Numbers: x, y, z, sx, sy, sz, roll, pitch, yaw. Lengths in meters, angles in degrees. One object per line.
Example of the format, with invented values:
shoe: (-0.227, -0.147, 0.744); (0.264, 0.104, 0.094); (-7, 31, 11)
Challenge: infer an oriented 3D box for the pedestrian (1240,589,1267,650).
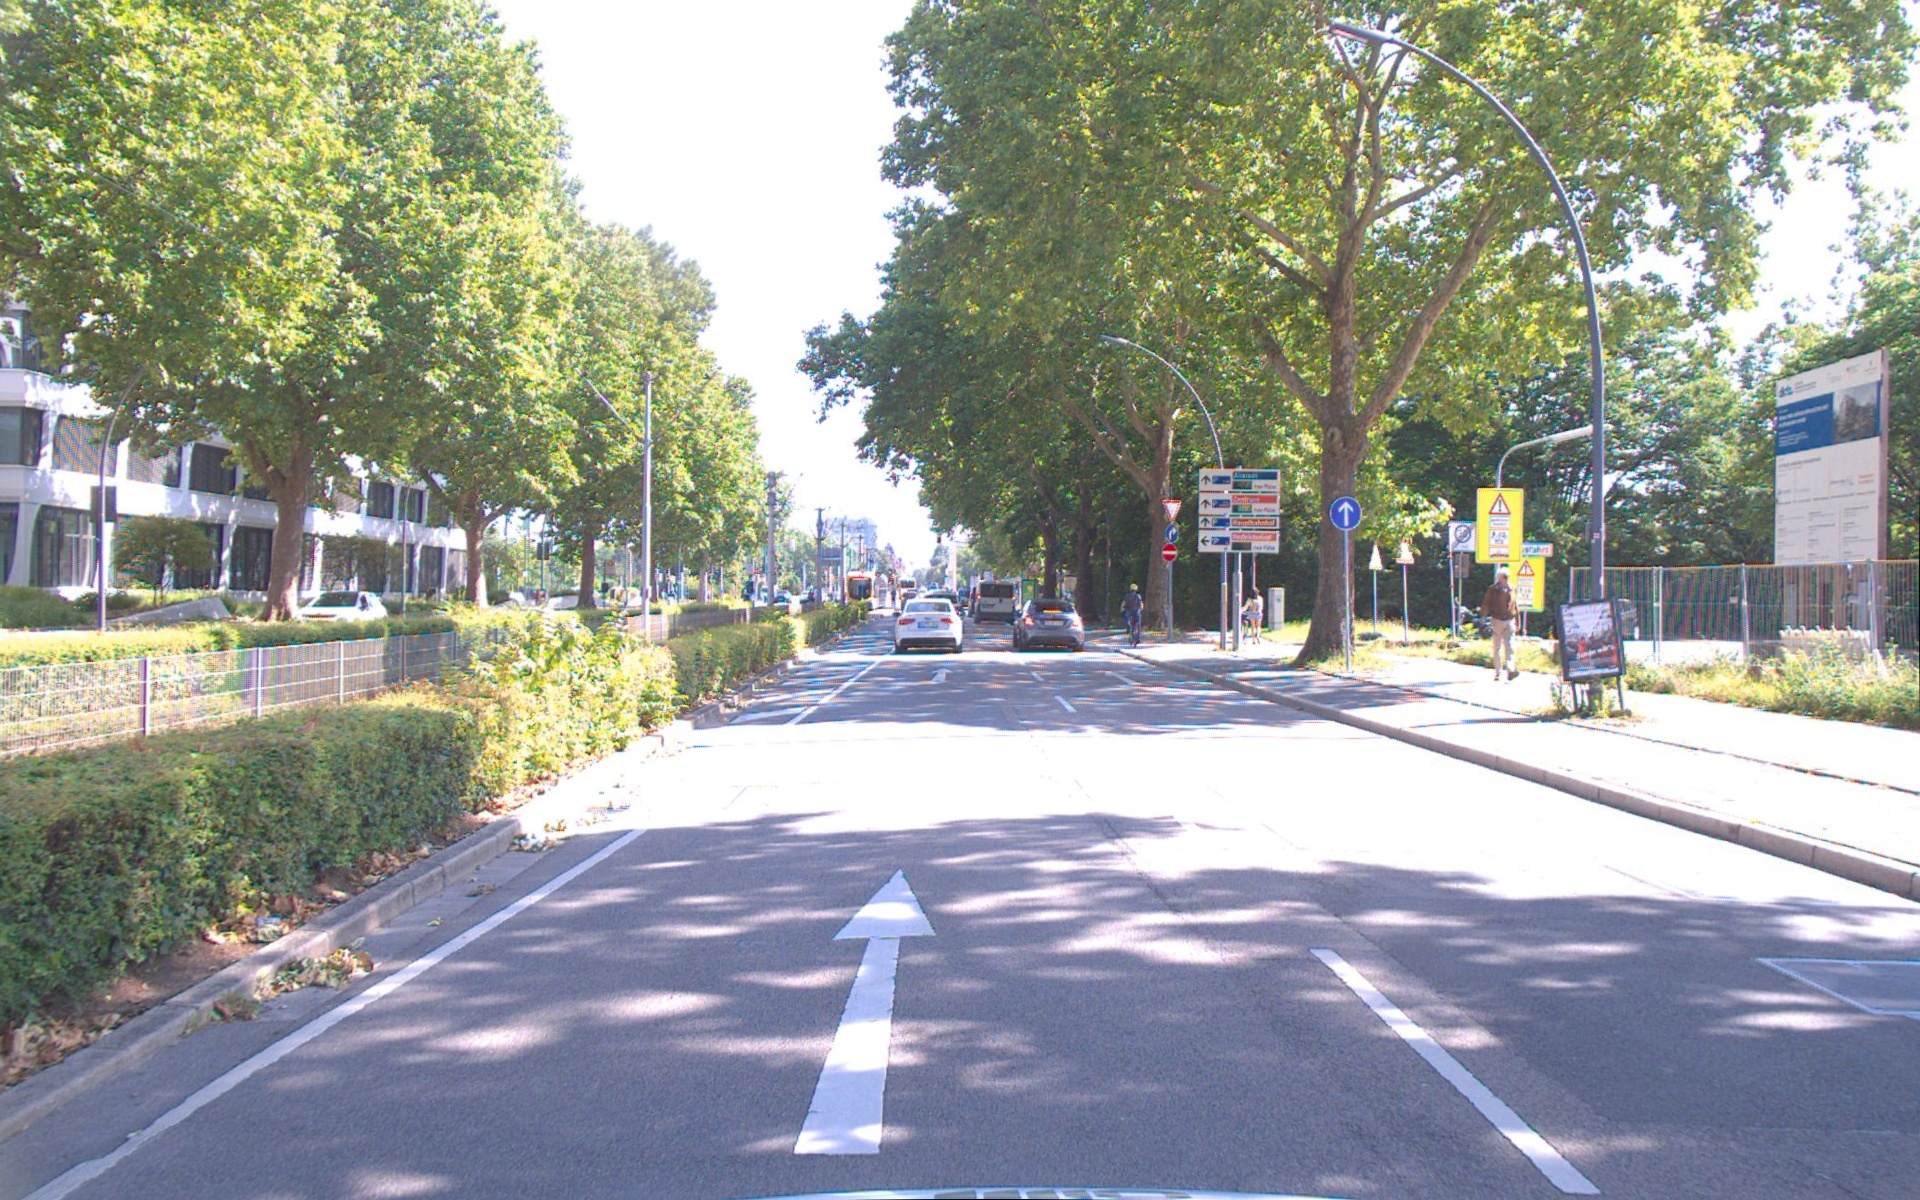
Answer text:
pedestrian: (8.842, 0.574, 49.866); (0.619, 1.816, 0.874); (1, 0, -1)

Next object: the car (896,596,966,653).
car: (-0.762, 0.624, 43.954); (1.748, 1.445, 3.884); (1, 0, -1)

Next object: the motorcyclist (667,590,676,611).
motorcyclist: (-20.080, 0.026, 115.112); (0.569, 1.483, 0.533); (0, 0, -1)

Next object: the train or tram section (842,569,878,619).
train or tram section: (-8.386, -0.498, 139.602); (2.563, 4.085, 7.748); (1, 0, 0)

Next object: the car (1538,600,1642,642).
car: (23.010, 0.754, 60.399); (3.954, 1.479, 1.663); (0, 0, -36)

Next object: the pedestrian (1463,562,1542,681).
pedestrian: (9.026, 0.349, 27.562); (0.919, 1.925, 1.151); (0, 0, -1)

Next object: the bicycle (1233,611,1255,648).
bicycle: (8.534, 0.875, 49.735); (0.342, 1.101, 1.698); (1, 0, -1)

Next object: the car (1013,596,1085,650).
car: (2.463, 0.620, 46.438); (1.746, 1.445, 3.999); (1, 0, -1)

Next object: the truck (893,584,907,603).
truck: (-9.352, -0.995, 259.517); (1.953, 2.839, 8.517); (1, 0, 0)

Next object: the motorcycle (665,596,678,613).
motorcycle: (-20.081, 0.328, 115.104); (0.619, 1.195, 1.999); (0, 0, -1)

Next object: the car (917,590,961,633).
car: (-0.830, 0.457, 65.726); (1.694, 1.633, 3.884); (1, 0, -1)

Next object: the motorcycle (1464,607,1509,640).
motorcycle: (15.877, 0.718, 49.862); (1.196, 0.984, 0.470); (0, 0, -8)

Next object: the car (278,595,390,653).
car: (-17.990, 0.662, 47.706); (1.721, 1.597, 4.018); (1, 0, -1)

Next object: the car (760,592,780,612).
car: (-24.322, 0.254, 211.971); (2.071, 2.424, 4.000); (0, 0, 0)

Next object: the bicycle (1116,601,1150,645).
bicycle: (5.131, 0.675, 49.217); (0.700, 1.168, 2.178); (-2, 2, -2)

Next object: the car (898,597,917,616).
car: (-4.732, 0.552, 149.483); (1.694, 1.659, 3.999); (1, 0, -1)

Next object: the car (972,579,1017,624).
car: (1.750, 0.055, 86.017); (2.184, 2.250, 4.161); (1, 0, -1)

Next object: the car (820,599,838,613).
car: (-16.434, 0.743, 207.421); (1.953, 1.764, 4.000); (1, 0, 0)

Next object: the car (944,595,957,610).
car: (-1.256, 0.336, 212.186); (1.694, 1.935, 3.999); (1, 0, -1)

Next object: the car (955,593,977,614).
car: (0.593, 0.350, 162.165); (2.030, 2.034, 4.057); (1, 0, -1)

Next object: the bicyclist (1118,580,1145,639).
bicyclist: (5.117, 0.272, 49.261); (0.621, 1.676, 0.979); (-2, 1, -2)
